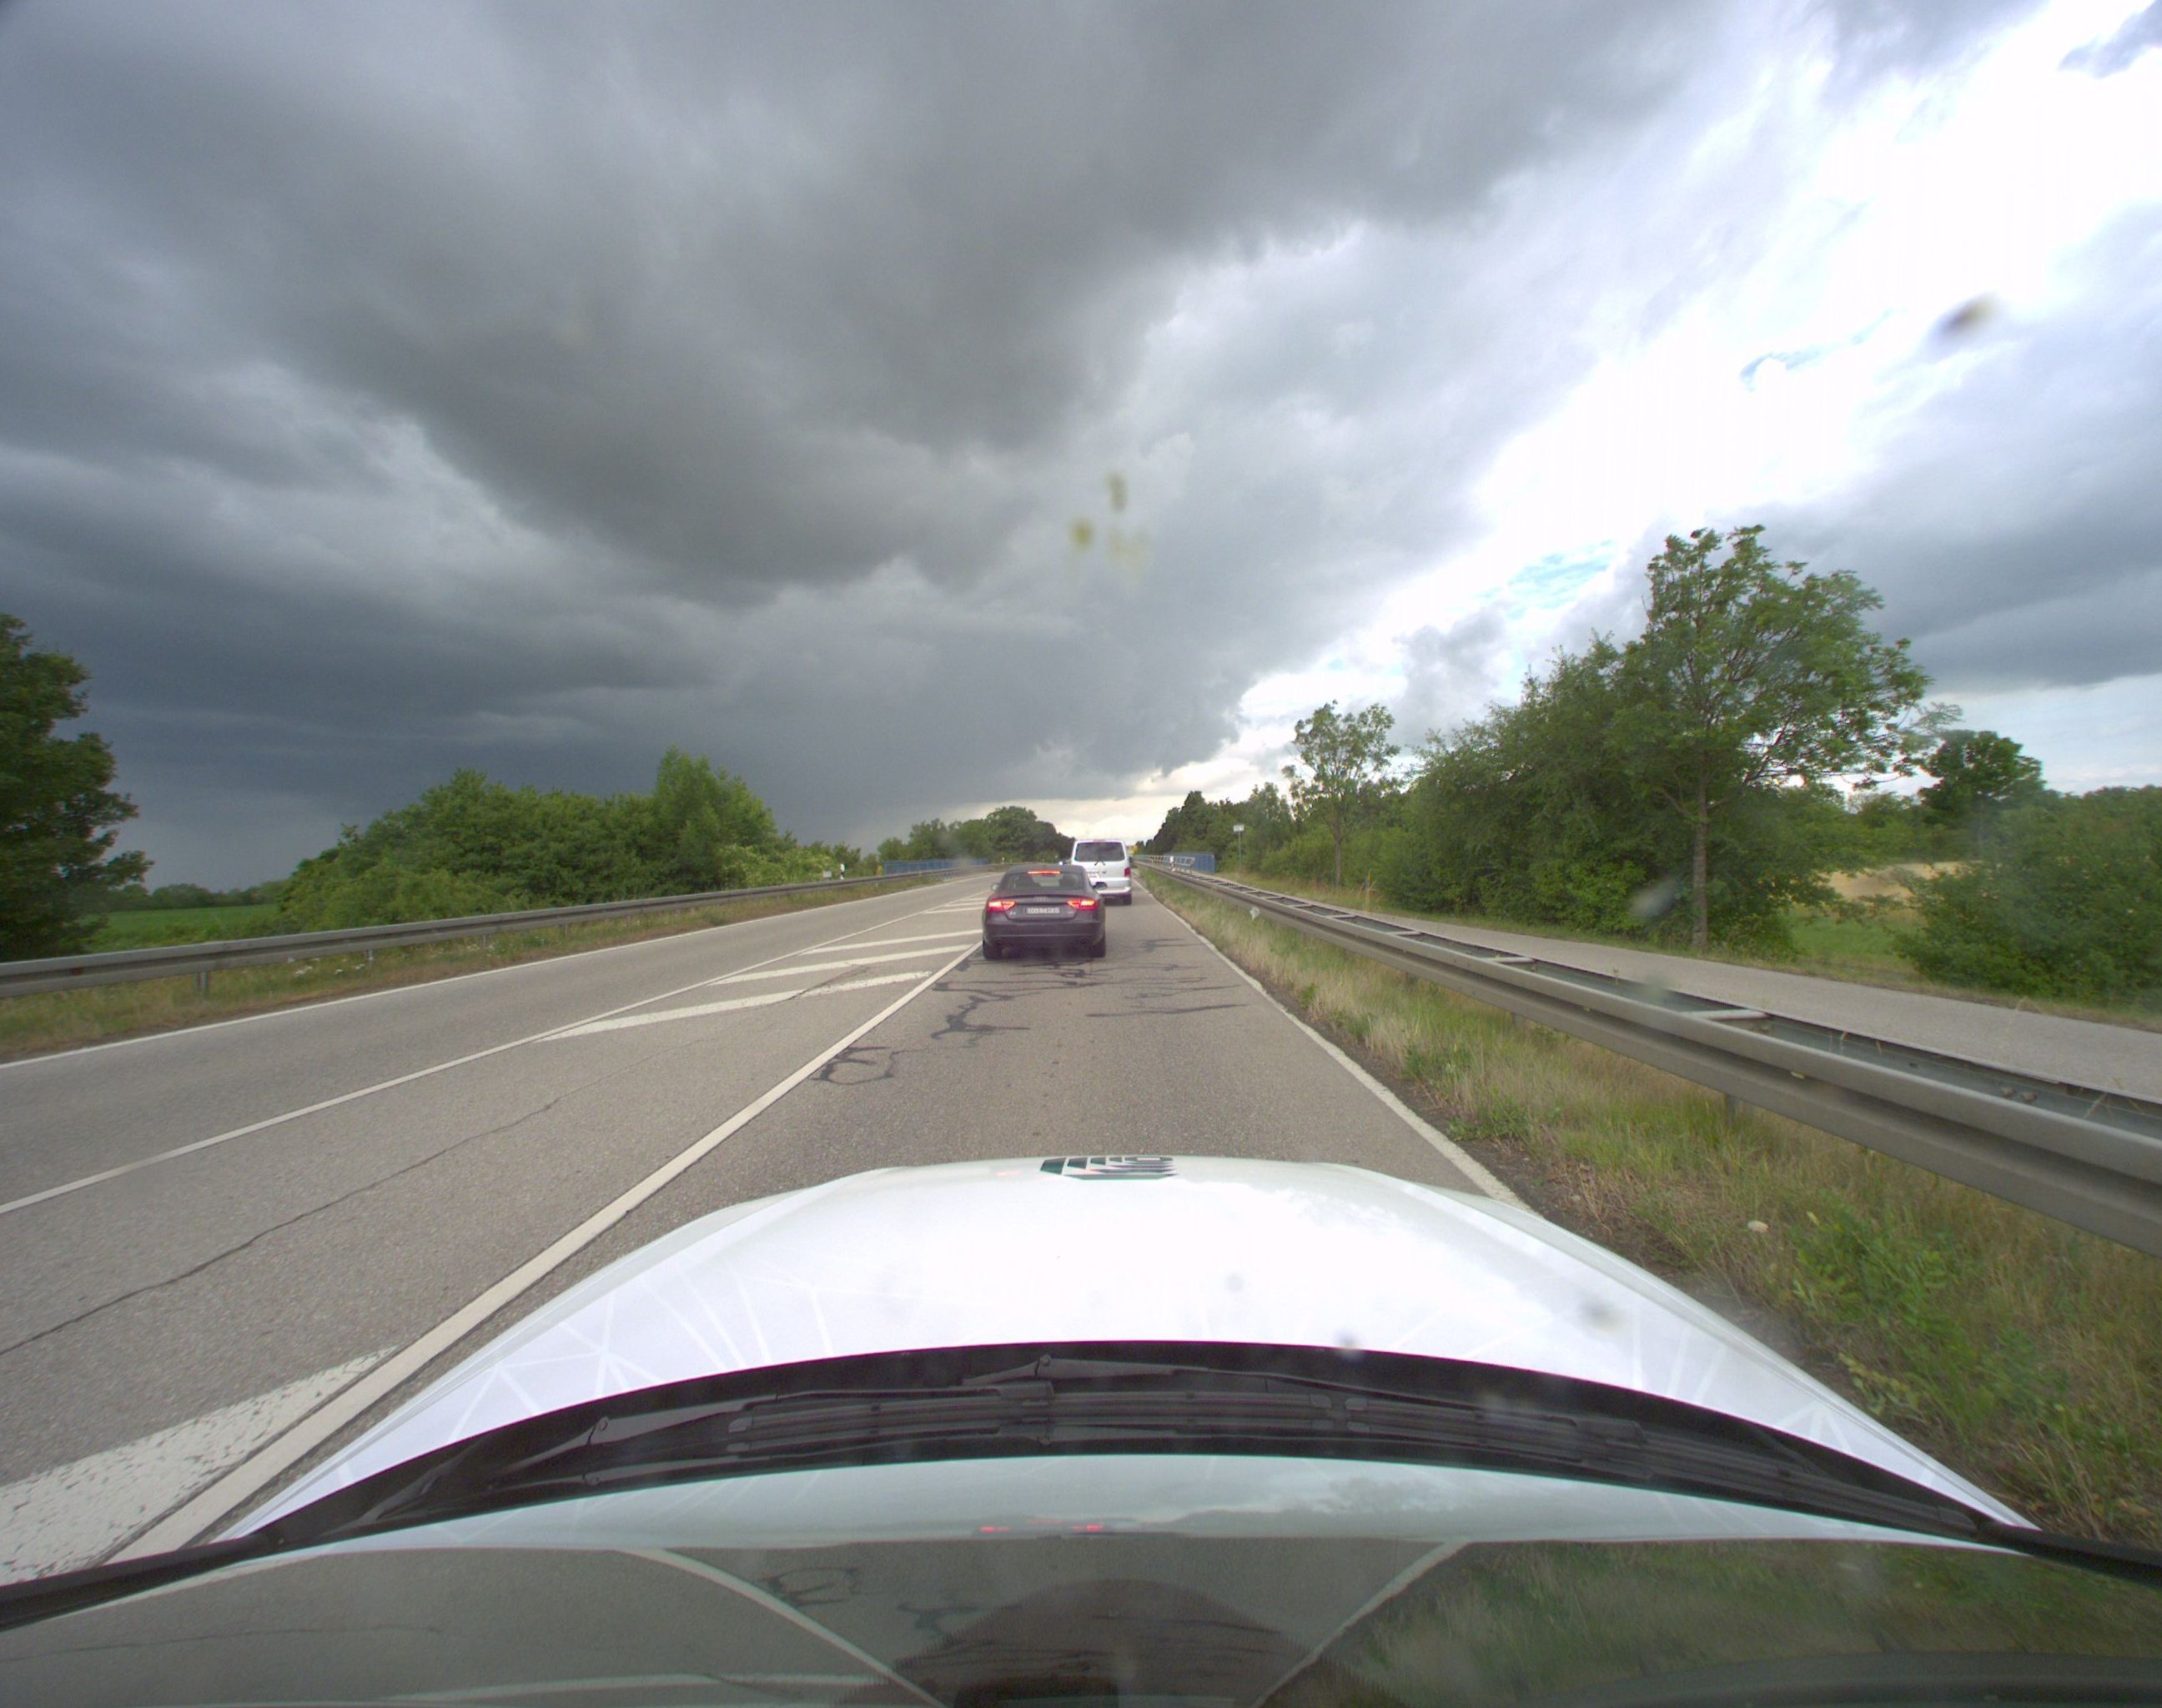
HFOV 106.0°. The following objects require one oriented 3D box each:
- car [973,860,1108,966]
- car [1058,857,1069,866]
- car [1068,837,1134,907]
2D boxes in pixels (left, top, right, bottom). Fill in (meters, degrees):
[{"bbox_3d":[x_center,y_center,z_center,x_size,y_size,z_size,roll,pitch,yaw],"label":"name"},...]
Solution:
[{"bbox_3d":[-0.500,0.834,13.251,1.815,1.381,4.073,-2,0,2],"label":"car"},{"bbox_3d":[-3.024,1.278,141.257,1.793,1.450,4.446,-2,0,0],"label":"car"},{"bbox_3d":[0.627,0.519,25.288,1.821,1.935,4.001,-2,0,2],"label":"car"}]
